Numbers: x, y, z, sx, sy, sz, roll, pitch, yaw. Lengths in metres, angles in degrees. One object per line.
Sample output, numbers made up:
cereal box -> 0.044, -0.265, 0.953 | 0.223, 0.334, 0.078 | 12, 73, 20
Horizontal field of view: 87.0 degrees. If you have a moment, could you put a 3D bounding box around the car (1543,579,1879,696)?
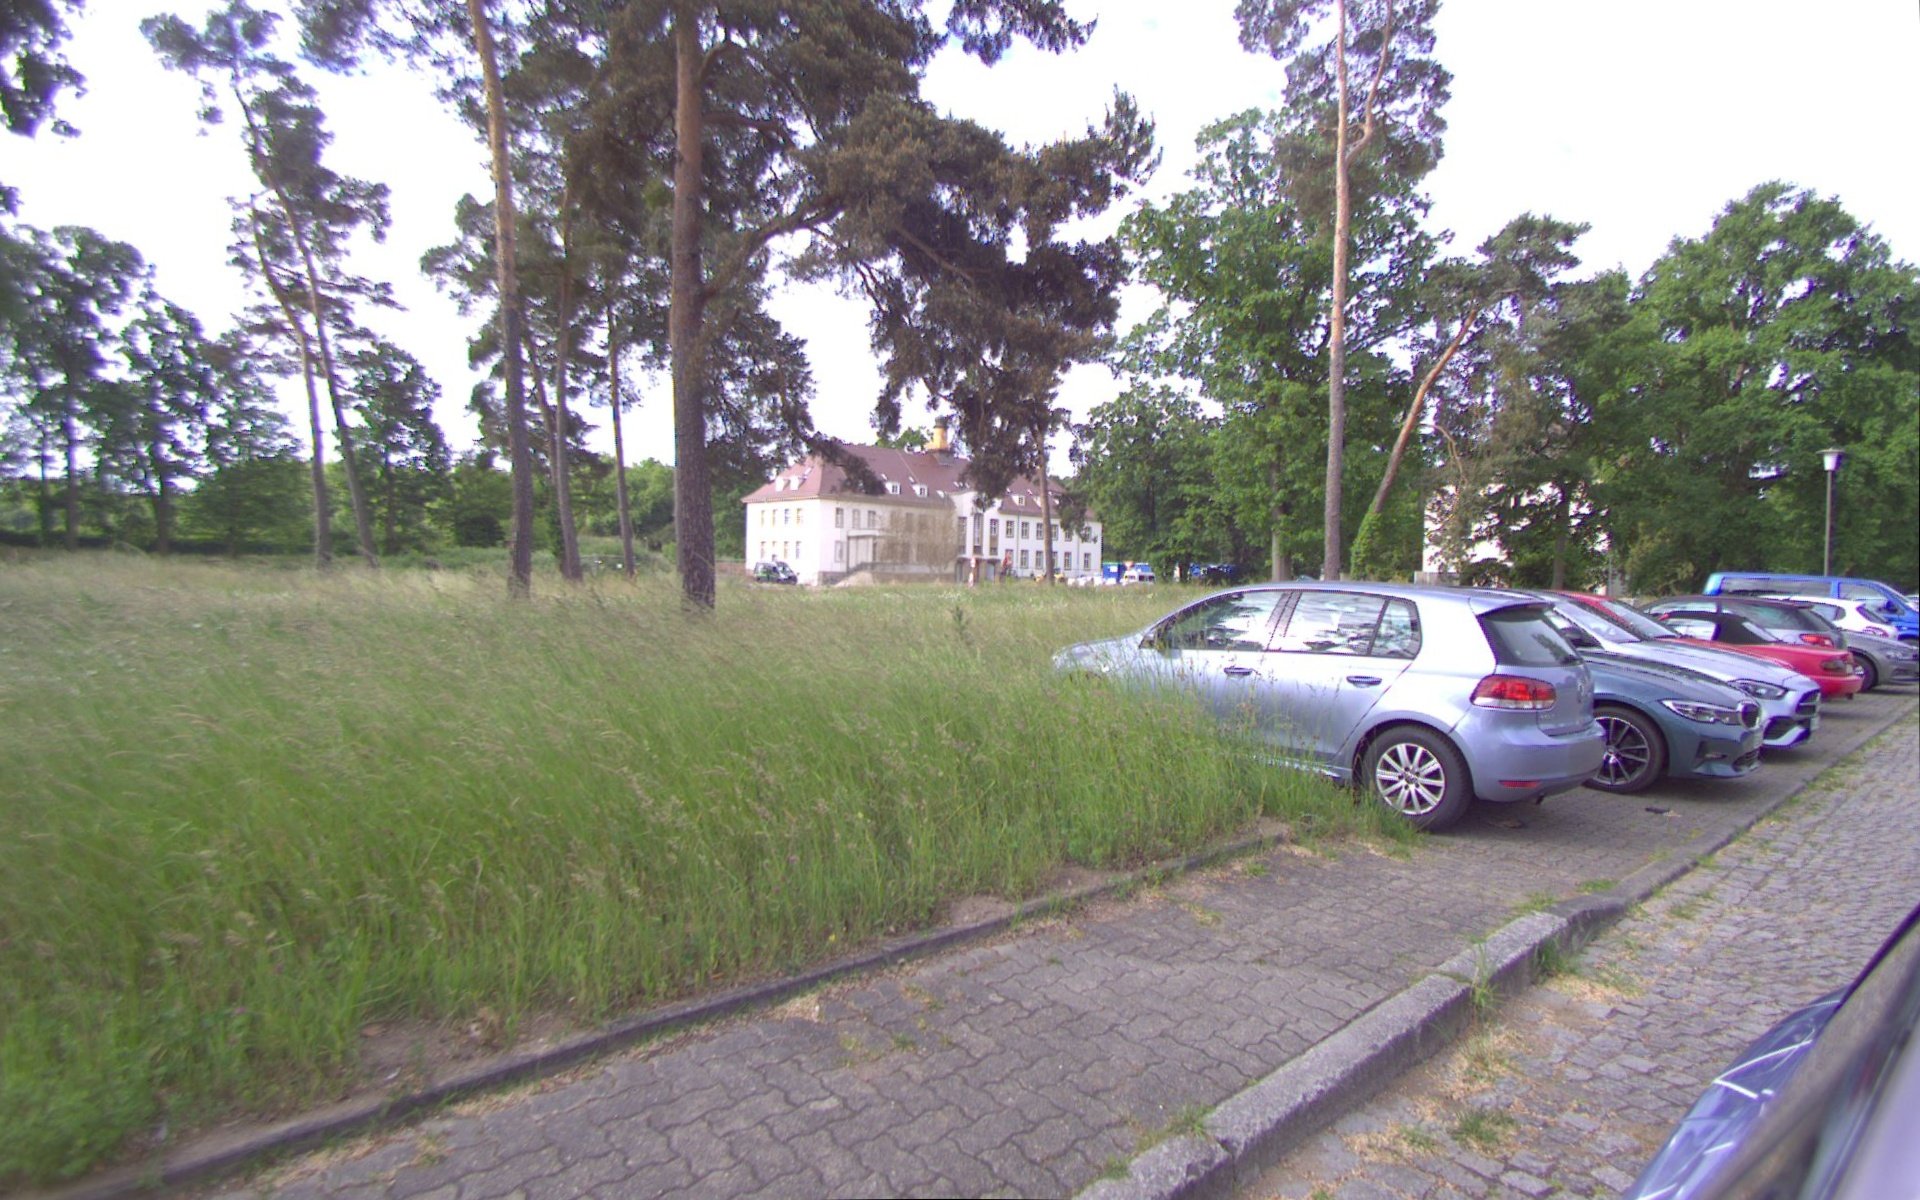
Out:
car -> 11.665, 0.485, 15.934 | 1.765, 1.494, 3.932 | 0, 2, -40

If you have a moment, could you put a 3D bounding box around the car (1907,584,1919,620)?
car -> 44.959, 0.157, 45.087 | 1.964, 1.644, 3.791 | 0, 2, -39

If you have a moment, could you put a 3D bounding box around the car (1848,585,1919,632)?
car -> 33.974, 0.322, 35.570 | 1.967, 1.589, 3.991 | 0, 3, -44

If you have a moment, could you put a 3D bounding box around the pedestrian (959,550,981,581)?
pedestrian -> 0.736, -2.487, 73.159 | 1.037, 2.204, 1.183 | 0, 2, -41

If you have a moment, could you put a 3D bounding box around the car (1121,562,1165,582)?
car -> 19.632, -2.993, 108.389 | 4.754, 2.038, 2.163 | 0, 2, -43

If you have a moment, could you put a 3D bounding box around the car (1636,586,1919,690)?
car -> 14.083, 0.563, 17.237 | 1.765, 1.453, 3.931 | 0, 3, -40

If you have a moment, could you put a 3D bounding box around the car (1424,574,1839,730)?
car -> 8.149, 0.495, 12.597 | 1.764, 1.531, 3.934 | 0, 2, -38

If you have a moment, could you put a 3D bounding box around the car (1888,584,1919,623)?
car -> 41.553, 0.186, 42.297 | 1.964, 1.589, 3.791 | 0, 2, -39

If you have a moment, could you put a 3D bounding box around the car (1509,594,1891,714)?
car -> 10.018, 0.623, 13.953 | 1.765, 1.249, 3.932 | 0, 3, -40

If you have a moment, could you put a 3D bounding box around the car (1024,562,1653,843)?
car -> 2.493, 0.486, 7.479 | 1.765, 1.436, 3.996 | 0, 3, -40

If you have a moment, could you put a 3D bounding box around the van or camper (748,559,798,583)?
van or camper -> -20.096, -3.123, 108.643 | 2.424, 2.335, 6.115 | 0, 3, -43

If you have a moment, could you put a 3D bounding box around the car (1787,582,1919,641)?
car -> 26.394, 0.317, 28.870 | 1.835, 1.523, 3.998 | 0, 2, -39

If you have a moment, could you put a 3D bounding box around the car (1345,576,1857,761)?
car -> 6.571, 0.539, 10.832 | 1.764, 1.463, 4.268 | 0, 2, -38

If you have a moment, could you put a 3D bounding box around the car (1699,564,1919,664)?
car -> 19.963, 0.258, 22.887 | 1.963, 2.038, 4.844 | 0, 2, -37

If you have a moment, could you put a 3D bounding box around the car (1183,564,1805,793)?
car -> 4.460, 0.463, 9.139 | 1.765, 1.463, 4.628 | 0, 3, -41

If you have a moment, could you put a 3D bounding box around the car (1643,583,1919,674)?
car -> 15.913, 0.472, 19.752 | 1.765, 1.467, 3.931 | 0, 3, -40
